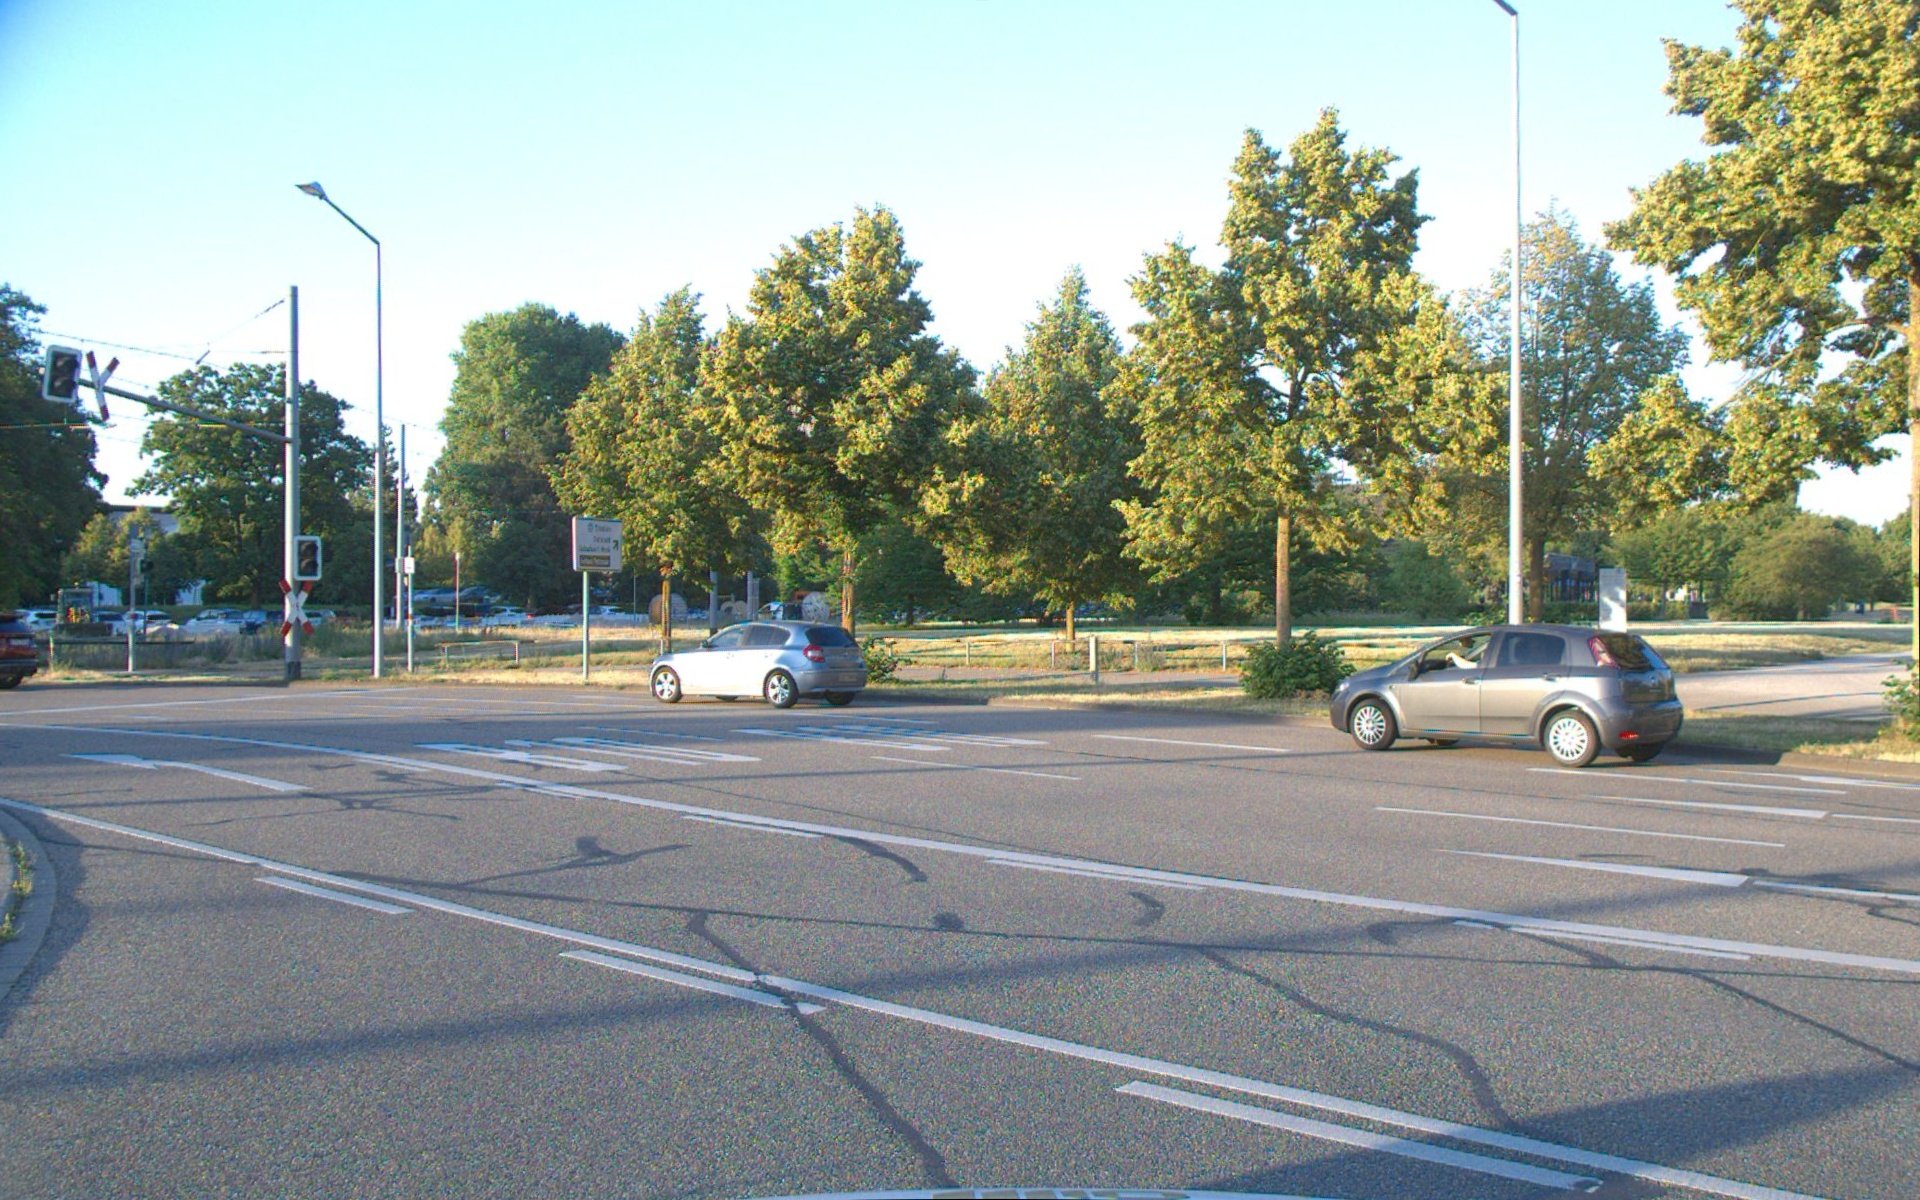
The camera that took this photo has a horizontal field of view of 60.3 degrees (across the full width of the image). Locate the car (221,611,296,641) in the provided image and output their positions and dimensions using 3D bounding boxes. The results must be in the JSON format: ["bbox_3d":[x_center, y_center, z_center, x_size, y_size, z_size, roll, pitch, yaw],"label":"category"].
[{"bbox_3d":[-39.060,1.416,92.056,3.915,1.632,1.995,0,0,32],"label":"car"}]

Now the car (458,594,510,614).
[{"bbox_3d":[-41.655,0.326,144.736,3.902,1.736,2.001,0,0,6],"label":"car"}]

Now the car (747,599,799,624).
[{"bbox_3d":[-12.972,0.782,114.682,1.724,1.646,3.940,0,0,-41],"label":"car"}]

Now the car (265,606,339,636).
[{"bbox_3d":[-37.360,1.188,93.882,3.915,1.632,1.995,0,0,32],"label":"car"}]

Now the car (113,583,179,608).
[{"bbox_3d":[-67.085,-0.383,136.354,1.958,2.049,4.585,0,0,33],"label":"car"}]

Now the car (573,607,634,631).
[{"bbox_3d":[-24.870,1.345,115.434,3.915,1.632,1.995,0,0,32],"label":"car"}]

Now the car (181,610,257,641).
[{"bbox_3d":[-40.503,1.384,90.389,3.915,1.632,1.995,0,0,32],"label":"car"}]

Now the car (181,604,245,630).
[{"bbox_3d":[-50.530,1.134,111.884,3.939,1.691,1.983,0,0,-27],"label":"car"}]

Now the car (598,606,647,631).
[{"bbox_3d":[-26.332,1.418,128.890,1.979,1.782,4.538,0,1,-37],"label":"car"}]

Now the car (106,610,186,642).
[{"bbox_3d":[-42.228,1.335,85.799,3.915,1.632,1.995,0,0,32],"label":"car"}]

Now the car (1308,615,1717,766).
[{"bbox_3d":[6.187,0.938,18.881,1.851,1.479,4.101,0,0,-41],"label":"car"}]

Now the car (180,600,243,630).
[{"bbox_3d":[-52.612,1.061,116.254,3.939,2.049,1.983,0,0,-27],"label":"car"}]

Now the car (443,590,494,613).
[{"bbox_3d":[-44.055,0.140,148.249,1.963,2.049,3.979,0,0,40],"label":"car"}]

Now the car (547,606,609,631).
[{"bbox_3d":[-26.239,1.259,113.685,3.915,1.632,1.995,0,0,32],"label":"car"}]

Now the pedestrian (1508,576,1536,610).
[{"bbox_3d":[26.826,-0.334,78.983,1.047,1.646,0.911,0,0,2],"label":"pedestrian"}]

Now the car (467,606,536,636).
[{"bbox_3d":[-32.511,1.465,117.284,4.499,2.049,1.996,0,0,-9],"label":"car"}]

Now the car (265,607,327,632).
[{"bbox_3d":[-45.786,1.345,114.124,3.933,1.691,1.889,0,0,-23],"label":"car"}]

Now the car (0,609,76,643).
[{"bbox_3d":[-45.598,1.258,81.447,3.915,1.632,1.995,0,0,32],"label":"car"}]

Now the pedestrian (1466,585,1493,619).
[{"bbox_3d":[24.945,0.086,79.442,1.047,1.646,0.911,0,0,2],"label":"pedestrian"}]

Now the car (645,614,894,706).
[{"bbox_3d":[-3.268,0.967,28.077,4.081,1.414,1.860,0,0,37],"label":"car"}]

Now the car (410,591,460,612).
[{"bbox_3d":[-47.916,0.145,151.077,1.959,1.847,3.987,0,0,34],"label":"car"}]

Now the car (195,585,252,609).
[{"bbox_3d":[-63.342,-0.294,142.375,1.958,2.049,4.105,0,0,33],"label":"car"}]

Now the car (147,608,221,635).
[{"bbox_3d":[-50.201,1.394,107.097,1.863,1.691,3.987,0,0,34],"label":"car"}]

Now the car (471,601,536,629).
[{"bbox_3d":[-34.561,1.110,125.274,4.499,2.049,1.996,0,0,-9],"label":"car"}]

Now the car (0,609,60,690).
[{"bbox_3d":[-21.248,0.998,34.144,4.307,1.601,2.001,0,0,6],"label":"car"}]

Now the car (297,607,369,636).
[{"bbox_3d":[-36.416,1.214,96.100,3.915,1.632,1.995,0,0,32],"label":"car"}]

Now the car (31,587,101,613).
[{"bbox_3d":[-70.501,0.006,130.480,1.956,2.049,4.590,0,0,29],"label":"car"}]

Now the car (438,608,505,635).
[{"bbox_3d":[-30.947,1.345,104.696,3.915,1.632,1.995,0,0,32],"label":"car"}]

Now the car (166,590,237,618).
[{"bbox_3d":[-56.616,0.266,123.504,1.956,2.049,4.590,0,0,29],"label":"car"}]
